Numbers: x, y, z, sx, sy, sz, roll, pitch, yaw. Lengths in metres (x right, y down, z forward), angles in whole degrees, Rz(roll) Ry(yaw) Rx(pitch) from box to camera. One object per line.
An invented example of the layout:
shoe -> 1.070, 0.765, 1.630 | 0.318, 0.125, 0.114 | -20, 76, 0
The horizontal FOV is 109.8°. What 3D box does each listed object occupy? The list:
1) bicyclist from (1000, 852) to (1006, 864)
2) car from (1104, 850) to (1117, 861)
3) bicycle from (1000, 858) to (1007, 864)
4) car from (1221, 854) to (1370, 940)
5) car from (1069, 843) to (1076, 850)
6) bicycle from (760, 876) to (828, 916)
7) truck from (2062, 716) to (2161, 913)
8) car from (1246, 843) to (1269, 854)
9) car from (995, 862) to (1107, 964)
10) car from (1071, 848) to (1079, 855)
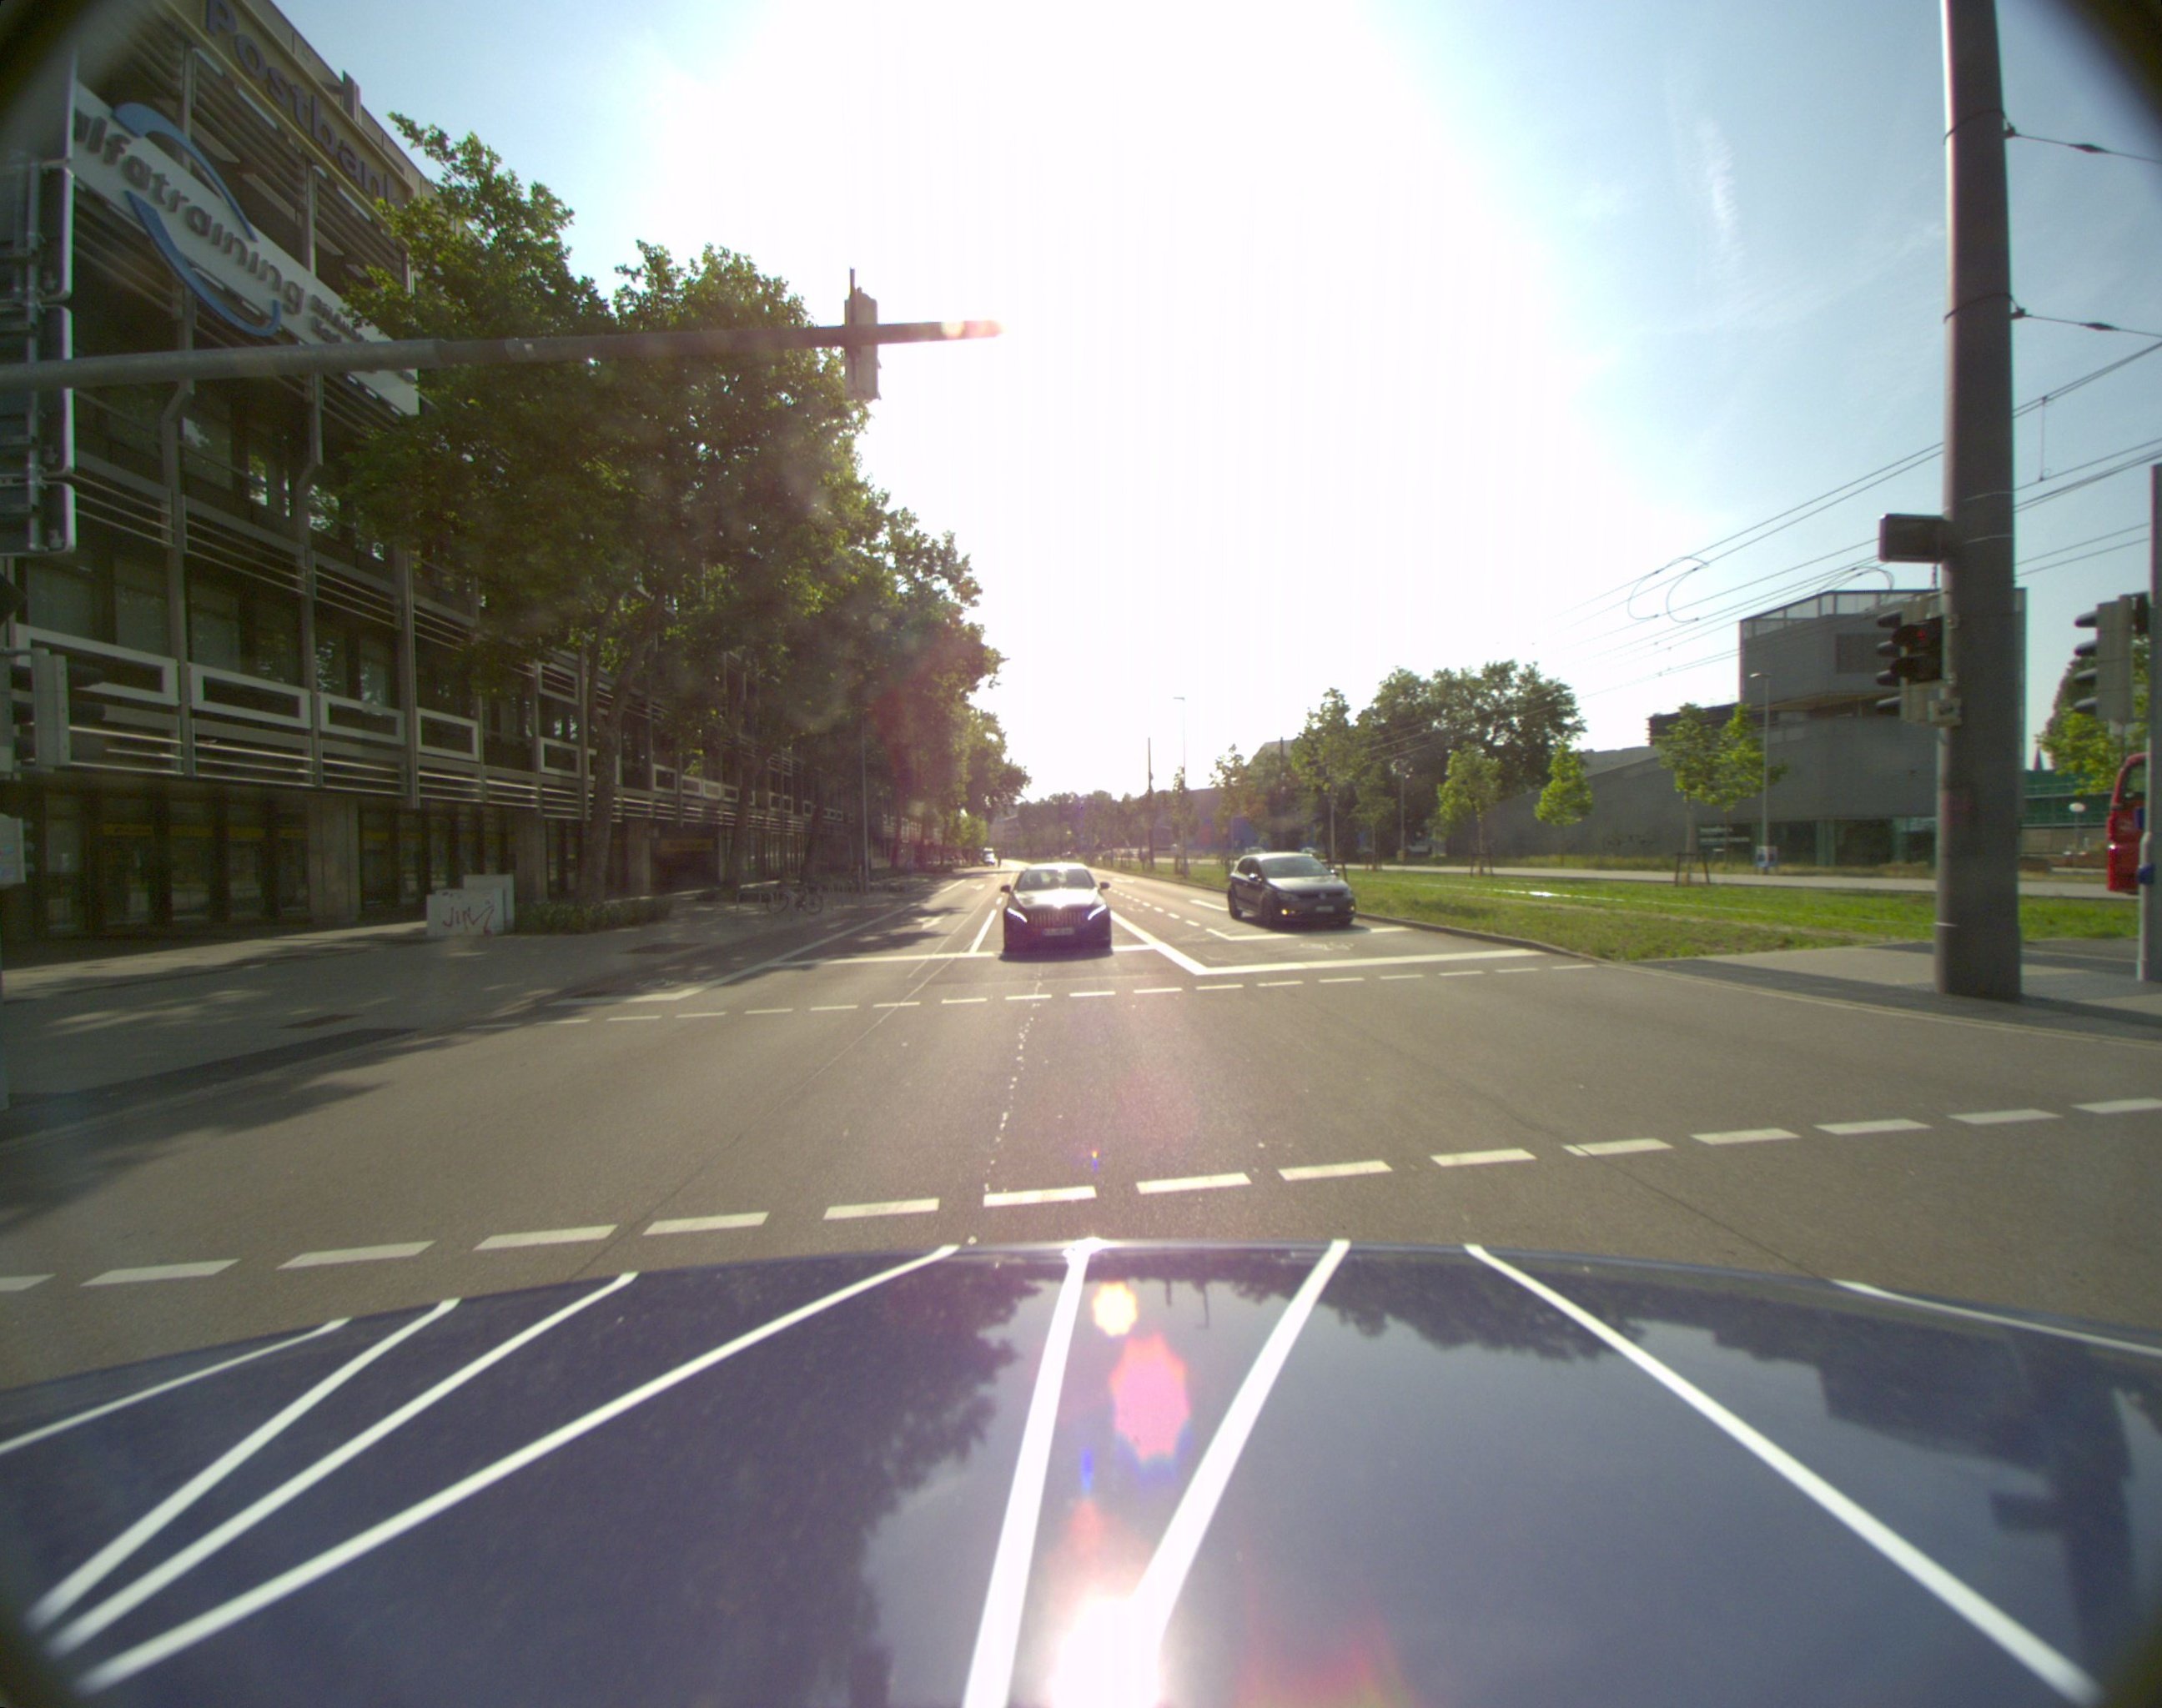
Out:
bicyclist -> -9.820, 0.462, 95.550 | 0.612, 1.505, 0.813 | -1, 1, -14
car -> 5.871, 0.317, 151.727 | 1.999, 2.002, 3.997 | -3, 1, -5
bicycle -> -9.762, 0.849, 95.369 | 0.630, 0.702, 1.807 | -1, 0, -14
car -> 4.245, 0.775, 15.682 | 1.709, 1.424, 3.868 | -3, 1, -3
car -> -2.440, -2.197, 221.185 | 1.757, 1.968, 3.769 | -1, 1, -4
bicycle -> -8.616, 1.260, 22.837 | 1.832, 1.181, 0.537 | 0, 1, 1
truck -> 22.787, -0.772, 11.018 | 2.981, 3.787, 10.414 | -1, 1, -7
car -> 30.765, -0.972, 132.591 | 2.020, 1.758, 4.818 | -1, 1, -12
car -> -0.552, 0.954, 14.425 | 1.717, 1.429, 5.055 | -2, 1, -2
car -> -1.605, -0.706, 193.199 | 1.757, 1.608, 4.332 | -1, 1, -4
